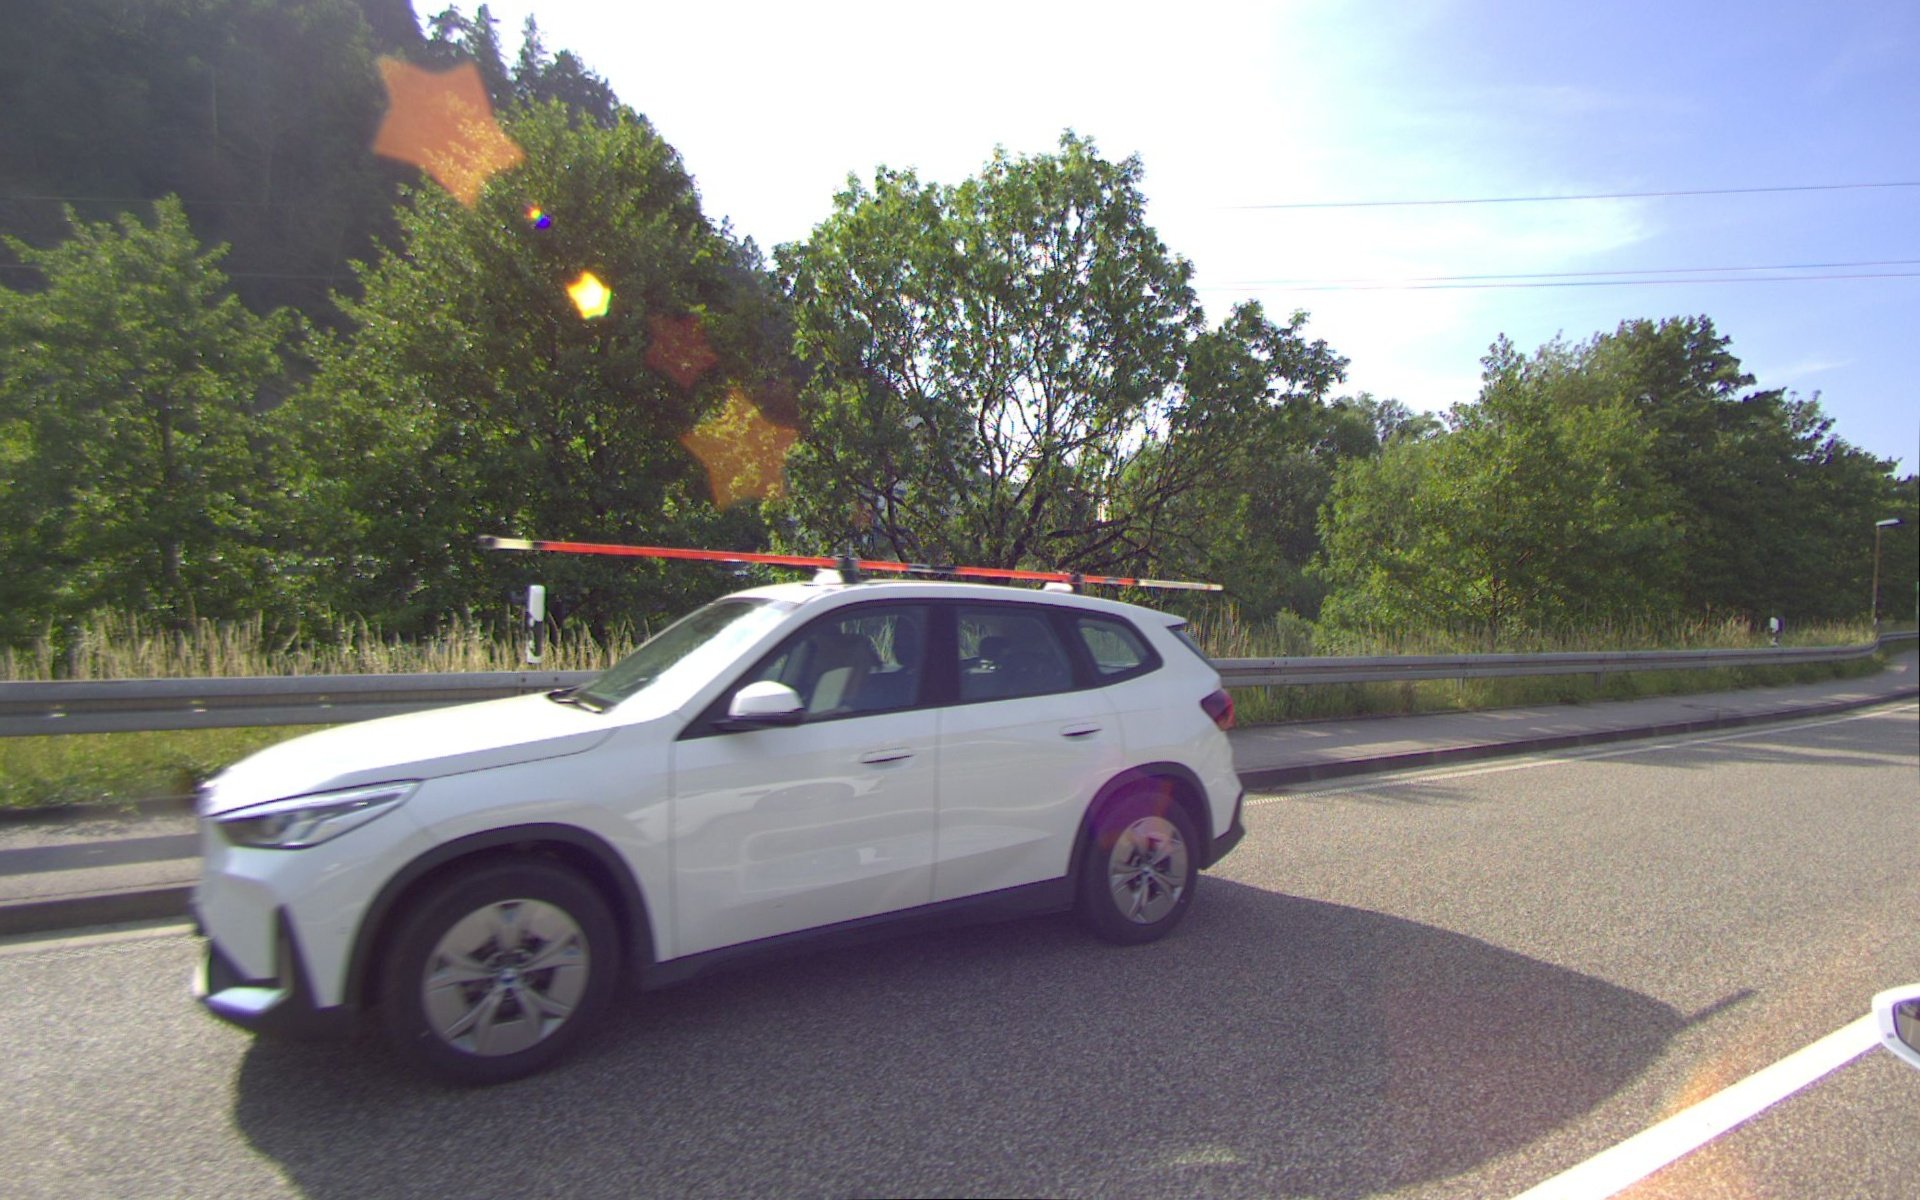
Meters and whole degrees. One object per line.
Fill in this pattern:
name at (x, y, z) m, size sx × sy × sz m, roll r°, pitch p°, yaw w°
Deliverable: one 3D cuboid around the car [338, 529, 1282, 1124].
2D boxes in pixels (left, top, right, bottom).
car at (-0.582, 0.653, 4.722) m, size 3.957 × 1.651 × 1.982 m, roll 0°, pitch -1°, yaw -33°
